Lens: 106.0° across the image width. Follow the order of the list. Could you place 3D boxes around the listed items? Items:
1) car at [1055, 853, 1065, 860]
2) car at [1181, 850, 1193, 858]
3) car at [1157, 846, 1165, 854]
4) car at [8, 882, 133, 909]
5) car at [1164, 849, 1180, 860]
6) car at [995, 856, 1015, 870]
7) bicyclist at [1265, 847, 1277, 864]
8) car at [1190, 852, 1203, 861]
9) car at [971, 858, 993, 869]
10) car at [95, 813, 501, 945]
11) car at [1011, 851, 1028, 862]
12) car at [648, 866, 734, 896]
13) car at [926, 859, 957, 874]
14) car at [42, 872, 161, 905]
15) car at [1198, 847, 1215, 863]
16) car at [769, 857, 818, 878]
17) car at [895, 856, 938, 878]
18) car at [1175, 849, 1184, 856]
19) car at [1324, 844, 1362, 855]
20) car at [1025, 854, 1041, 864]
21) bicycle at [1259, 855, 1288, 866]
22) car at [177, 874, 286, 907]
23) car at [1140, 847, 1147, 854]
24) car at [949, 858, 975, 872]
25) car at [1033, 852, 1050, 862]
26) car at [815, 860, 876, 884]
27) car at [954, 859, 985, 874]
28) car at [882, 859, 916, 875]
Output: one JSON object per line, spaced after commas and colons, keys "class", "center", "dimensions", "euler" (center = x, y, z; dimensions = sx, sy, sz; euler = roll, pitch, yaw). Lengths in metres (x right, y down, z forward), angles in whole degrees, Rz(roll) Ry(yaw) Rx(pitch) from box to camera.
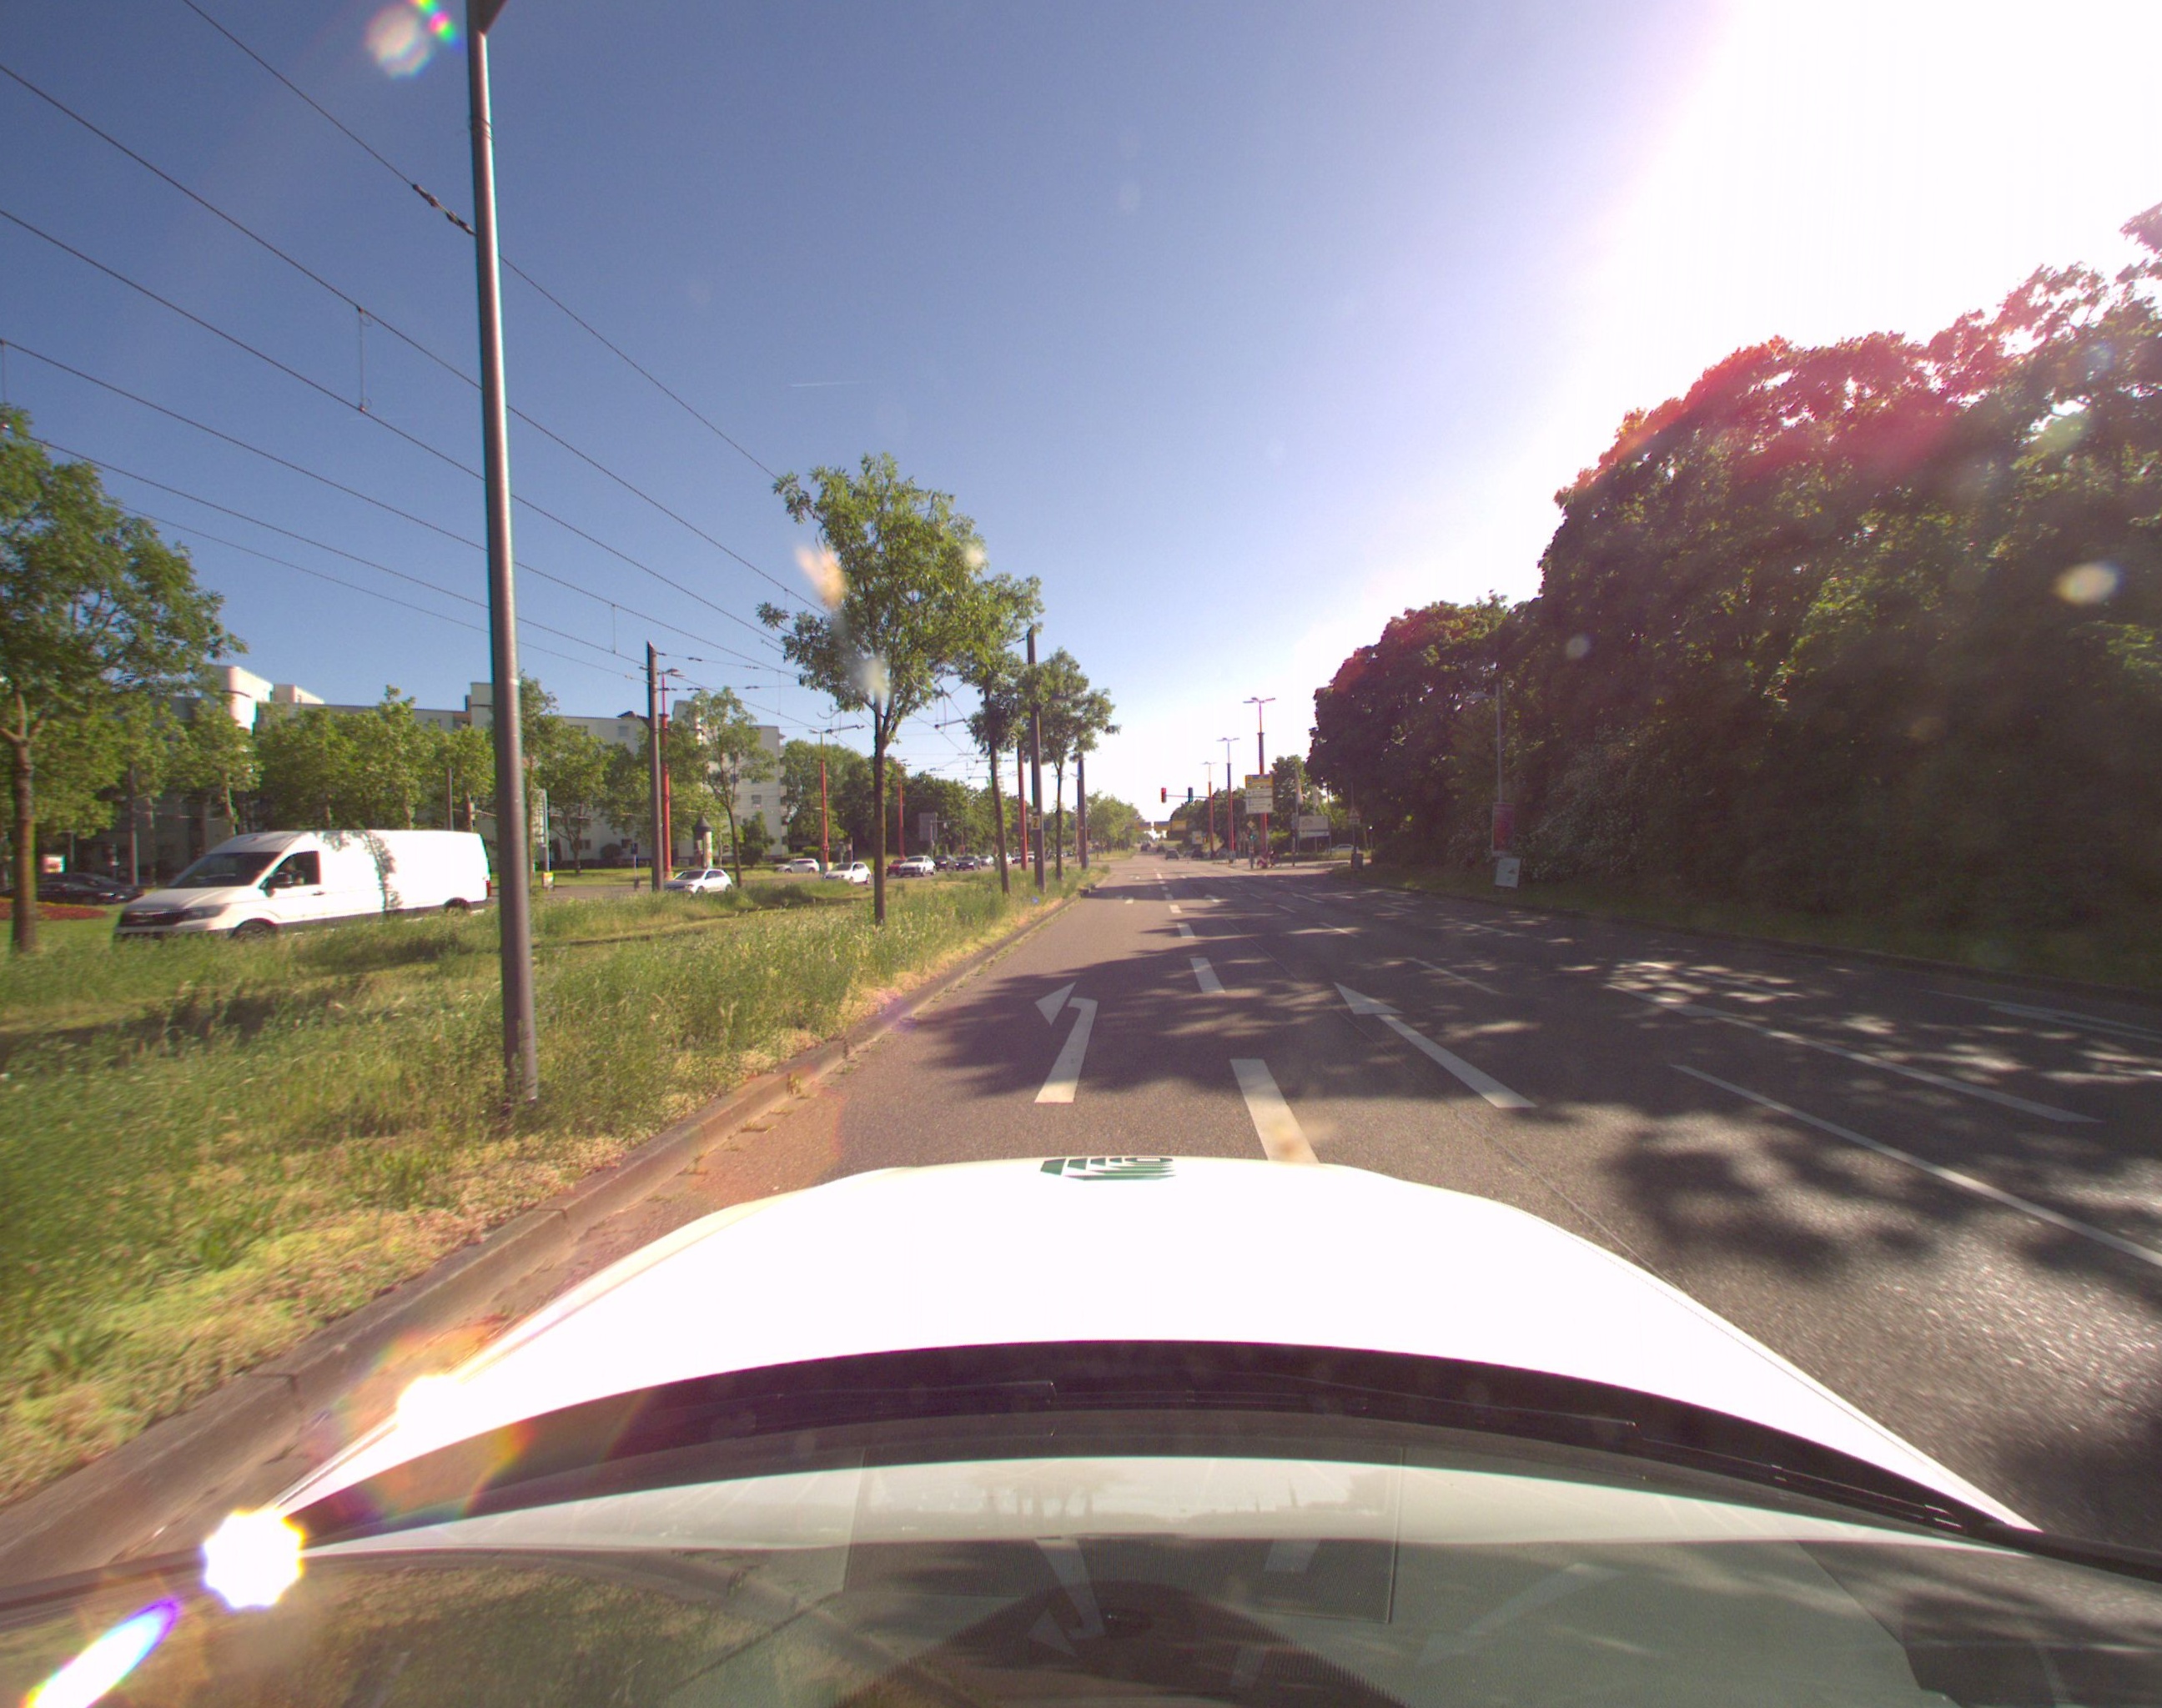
{"class": "car", "center": [-4.320, 0.523, 165.765], "dimensions": [1.541, 1.377, 4.267], "euler": [-1, 0, 4]}
{"class": "car", "center": [19.120, -0.002, 147.184], "dimensions": [1.984, 1.540, 4.005], "euler": [0, 0, 5]}
{"class": "car", "center": [20.602, -0.998, 209.912], "dimensions": [2.145, 2.013, 4.005], "euler": [-1, 0, 4]}
{"class": "car", "center": [-56.367, 2.289, 45.520], "dimensions": [4.008, 1.322, 1.721], "euler": [0, 0, -27]}
{"class": "car", "center": [12.754, 0.115, 113.983], "dimensions": [1.986, 1.496, 4.002], "euler": [-1, 0, 2]}
{"class": "car", "center": [-9.256, 1.108, 99.826], "dimensions": [1.754, 1.608, 3.763], "euler": [-2, 0, 5]}
{"class": "bicyclist", "center": [14.991, 0.133, 64.257], "dimensions": [0.738, 1.341, 0.706], "euler": [0, 0, -6]}
{"class": "car", "center": [17.933, 0.406, 126.216], "dimensions": [1.730, 1.341, 3.085], "euler": [-1, 0, 4]}
{"class": "car", "center": [-12.993, 1.263, 106.881], "dimensions": [1.984, 1.374, 4.407], "euler": [0, 0, 5]}
{"class": "car", "center": [-16.619, 0.464, 18.153], "dimensions": [2.030, 2.369, 6.888], "euler": [0, 0, 4]}
{"class": "car", "center": [-8.540, 0.325, 113.942], "dimensions": [1.581, 1.472, 4.189], "euler": [-3, 1, 6]}
{"class": "car", "center": [-18.216, 1.231, 38.246], "dimensions": [1.789, 1.293, 4.006], "euler": [0, 0, 5]}
{"class": "car", "center": [-14.303, 1.220, 83.616], "dimensions": [1.984, 1.481, 4.638], "euler": [0, 0, 5]}
{"class": "car", "center": [-57.329, 1.989, 47.749], "dimensions": [4.008, 1.750, 1.896], "euler": [0, 0, -27]}
{"class": "car", "center": [16.146, 0.127, 104.944], "dimensions": [1.981, 1.887, 4.012], "euler": [-1, 0, 11]}
{"class": "car", "center": [-30.289, 1.403, 85.988], "dimensions": [1.975, 2.013, 4.434], "euler": [-1, 0, 44]}
{"class": "car", "center": [-12.925, 0.987, 64.186], "dimensions": [1.884, 1.621, 4.666], "euler": [0, 0, 7]}
{"class": "car", "center": [23.217, -0.432, 192.432], "dimensions": [1.984, 1.540, 4.005], "euler": [-1, 0, 5]}
{"class": "car", "center": [33.745, -0.549, 105.086], "dimensions": [4.351, 1.371, 2.066], "euler": [-1, 0, 9]}
{"class": "car", "center": [-7.324, 0.688, 124.453], "dimensions": [1.696, 1.423, 4.648], "euler": [-2, 0, 4]}
{"class": "bicycle", "center": [15.155, 0.513, 64.251], "dimensions": [2.160, 0.878, 0.558], "euler": [0, 0, -7]}
{"class": "car", "center": [-50.266, 2.122, 48.302], "dimensions": [4.008, 1.750, 1.896], "euler": [0, 0, -27]}
{"class": "car", "center": [17.418, -1.001, 226.928], "dimensions": [1.986, 2.013, 4.002], "euler": [0, 0, 2]}
{"class": "car", "center": [-13.755, 1.277, 94.604], "dimensions": [1.985, 1.432, 4.698], "euler": [-2, 0, 4]}
{"class": "car", "center": [-6.516, 0.524, 134.323], "dimensions": [1.983, 1.594, 4.472], "euler": [-2, 0, 6]}
{"class": "car", "center": [-14.828, 1.125, 51.524], "dimensions": [1.888, 1.398, 4.555], "euler": [0, 0, 9]}
{"class": "car", "center": [-11.129, 1.202, 81.536], "dimensions": [1.983, 1.409, 4.998], "euler": [0, 0, 6]}
{"class": "car", "center": [-15.499, 1.116, 69.510], "dimensions": [1.650, 1.297, 4.181], "euler": [0, 0, 4]}
